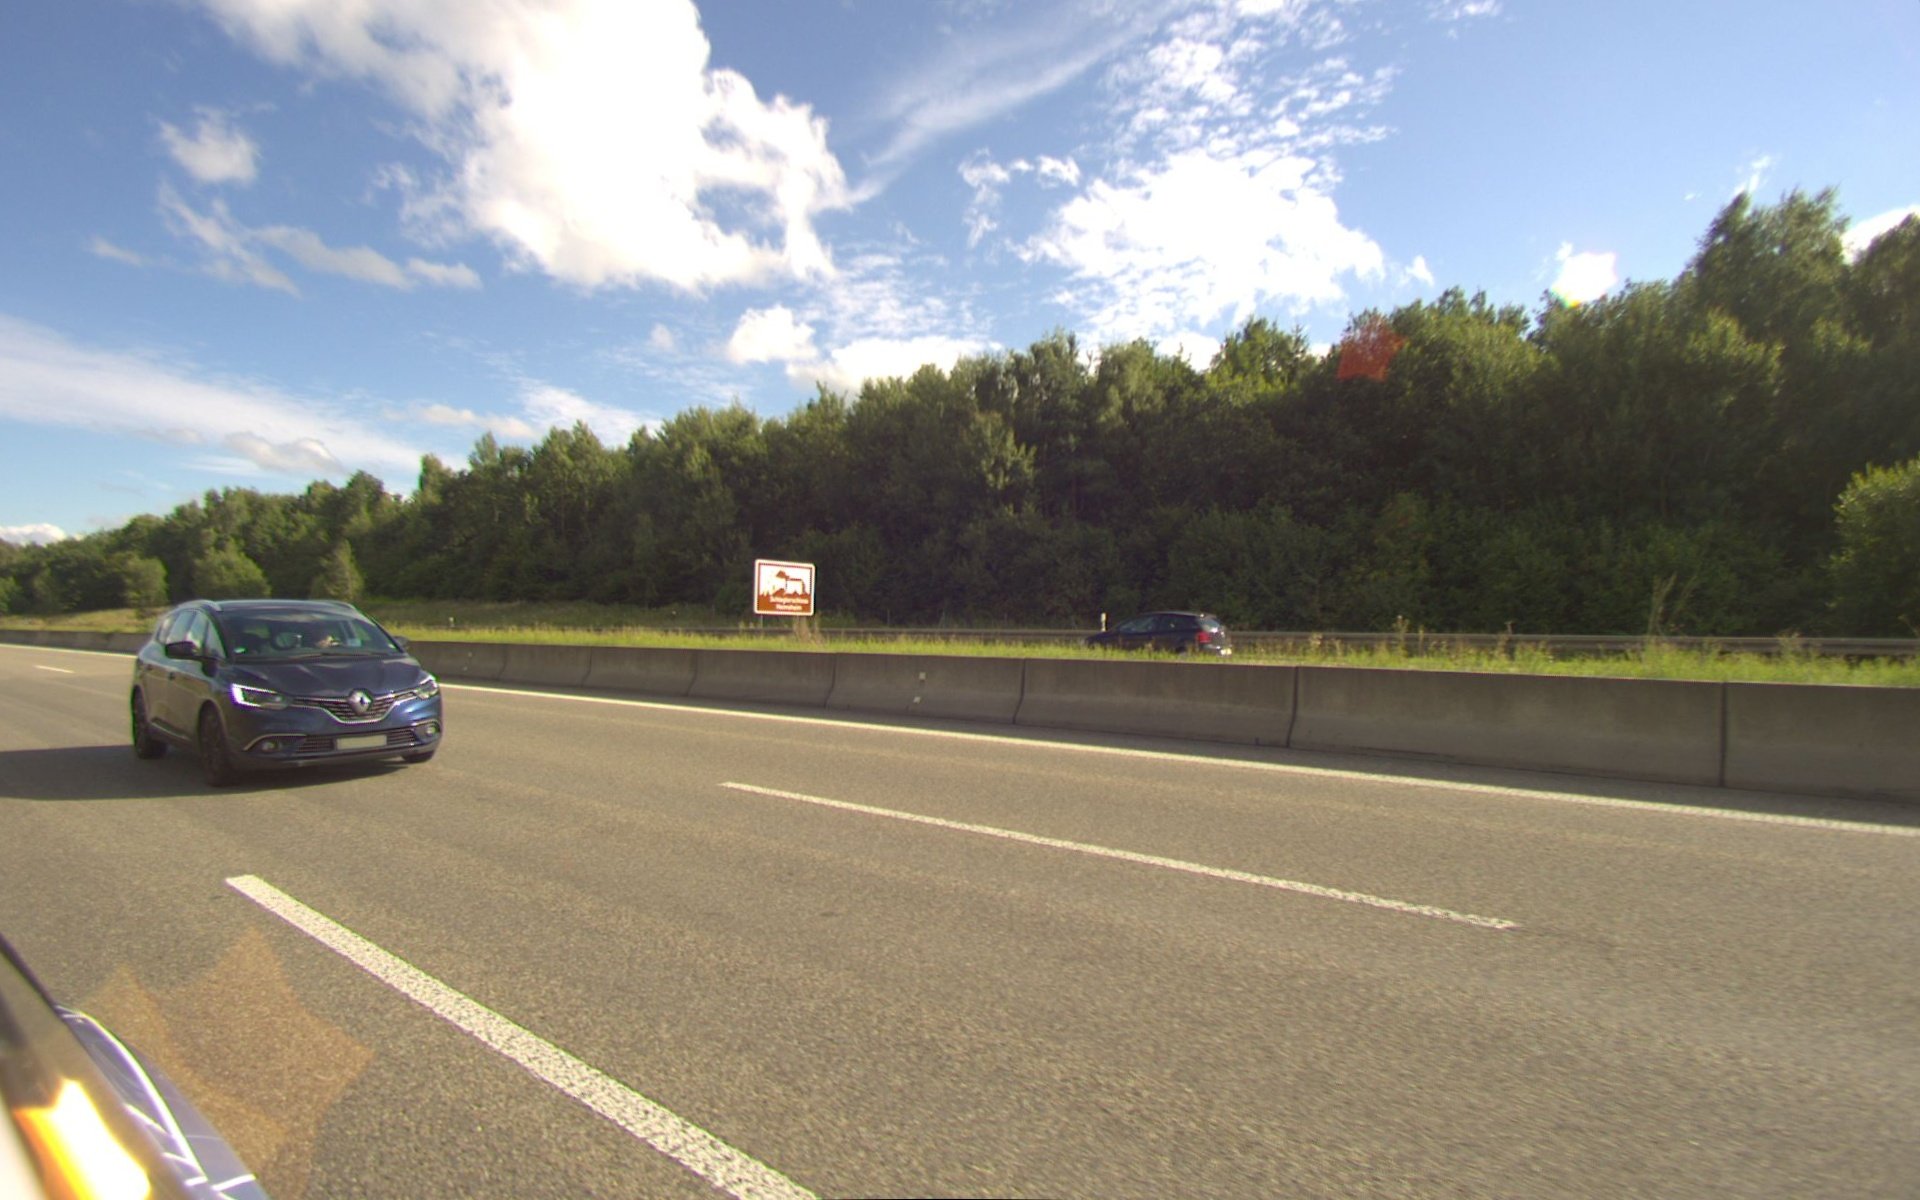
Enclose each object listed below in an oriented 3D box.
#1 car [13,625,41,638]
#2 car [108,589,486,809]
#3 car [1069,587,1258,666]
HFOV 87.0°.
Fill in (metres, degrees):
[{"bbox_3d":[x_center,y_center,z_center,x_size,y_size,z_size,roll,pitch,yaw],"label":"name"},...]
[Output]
[{"bbox_3d":[-106.462,3.574,115.422,3.997,1.463,1.887,-1,-1,40],"label":"car"},{"bbox_3d":[-6.818,0.811,10.206,4.525,1.719,1.973,-1,0,40],"label":"car"},{"bbox_3d":[4.885,0.632,24.581,4.048,1.760,1.973,-1,-1,41],"label":"car"}]
